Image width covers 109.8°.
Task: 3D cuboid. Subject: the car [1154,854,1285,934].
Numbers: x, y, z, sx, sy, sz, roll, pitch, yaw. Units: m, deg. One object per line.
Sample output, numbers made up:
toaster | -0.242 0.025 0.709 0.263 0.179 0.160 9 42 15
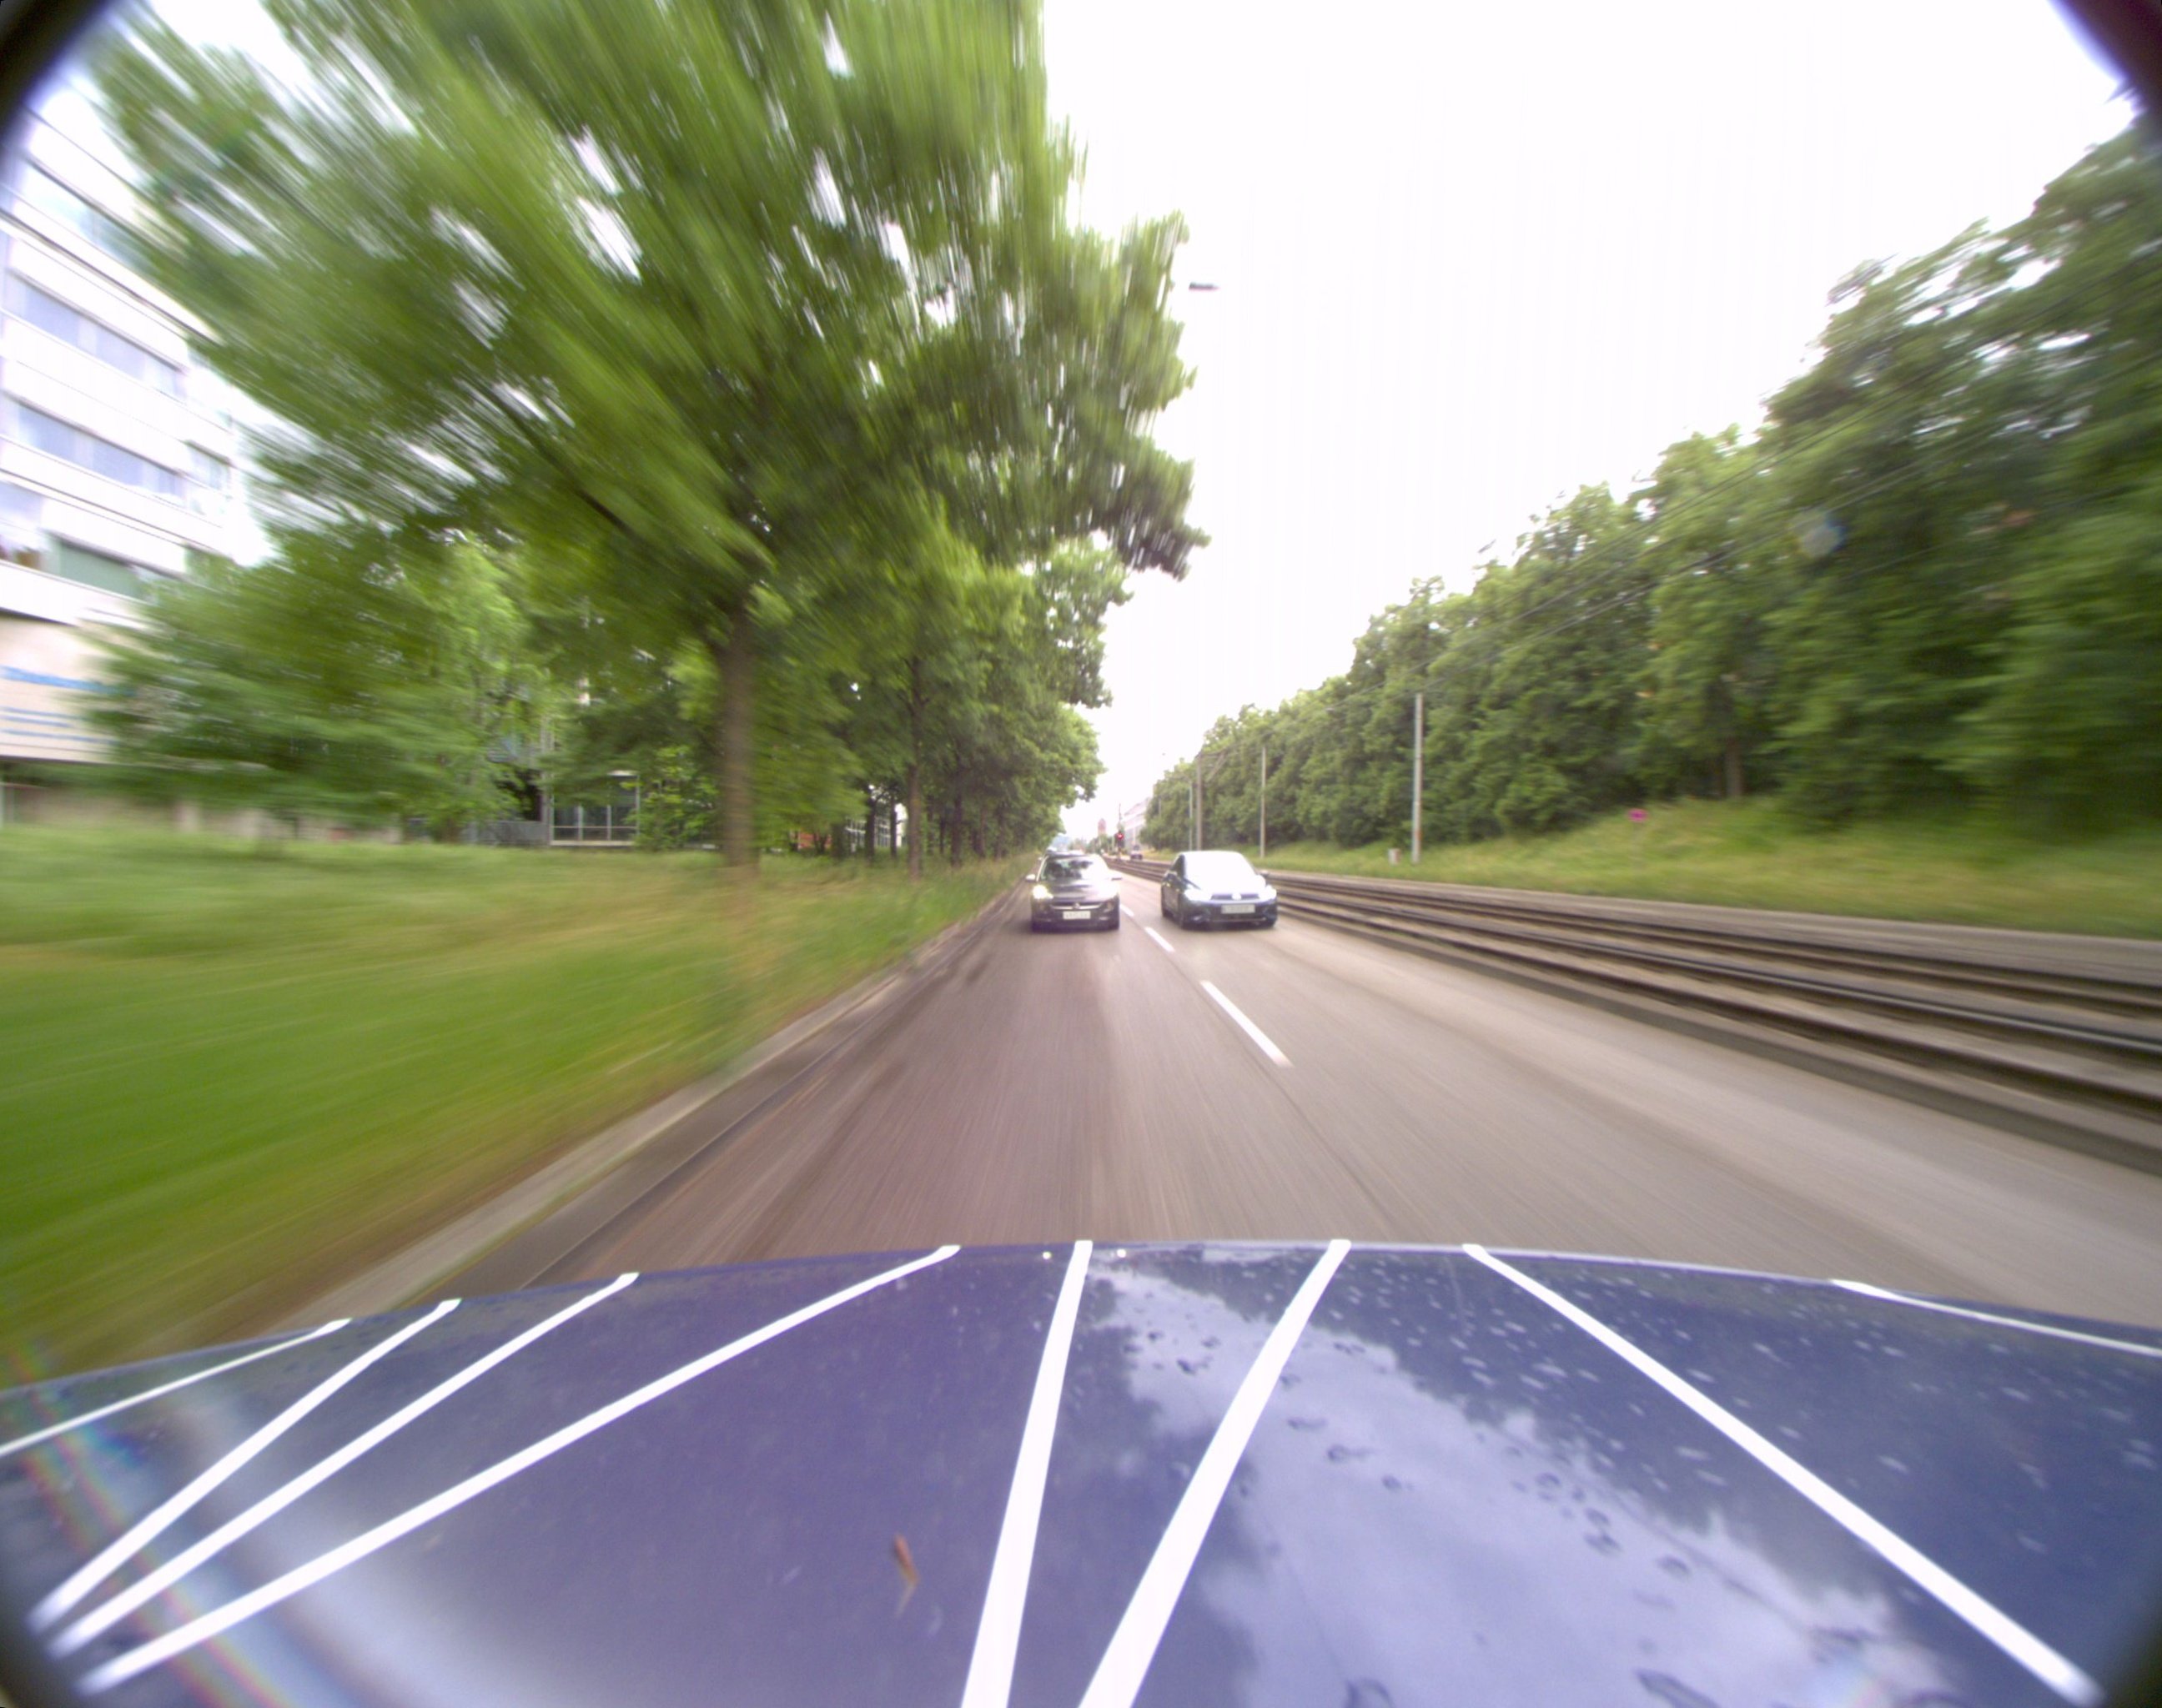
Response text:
car | 2.683 0.715 15.723 1.813 1.370 4.346 -1 1 -1

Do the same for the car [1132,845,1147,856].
car | 9.185 -0.584 119.343 1.999 1.717 3.998 0 1 -2

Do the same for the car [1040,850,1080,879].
car | -1.048 0.521 40.507 1.960 1.457 4.699 -1 0 0

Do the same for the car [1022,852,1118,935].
car | -0.101 0.718 16.138 1.710 1.425 4.429 -1 1 3

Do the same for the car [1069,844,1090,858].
car | -0.234 -0.344 84.065 1.961 1.472 4.697 -2 0 -4
